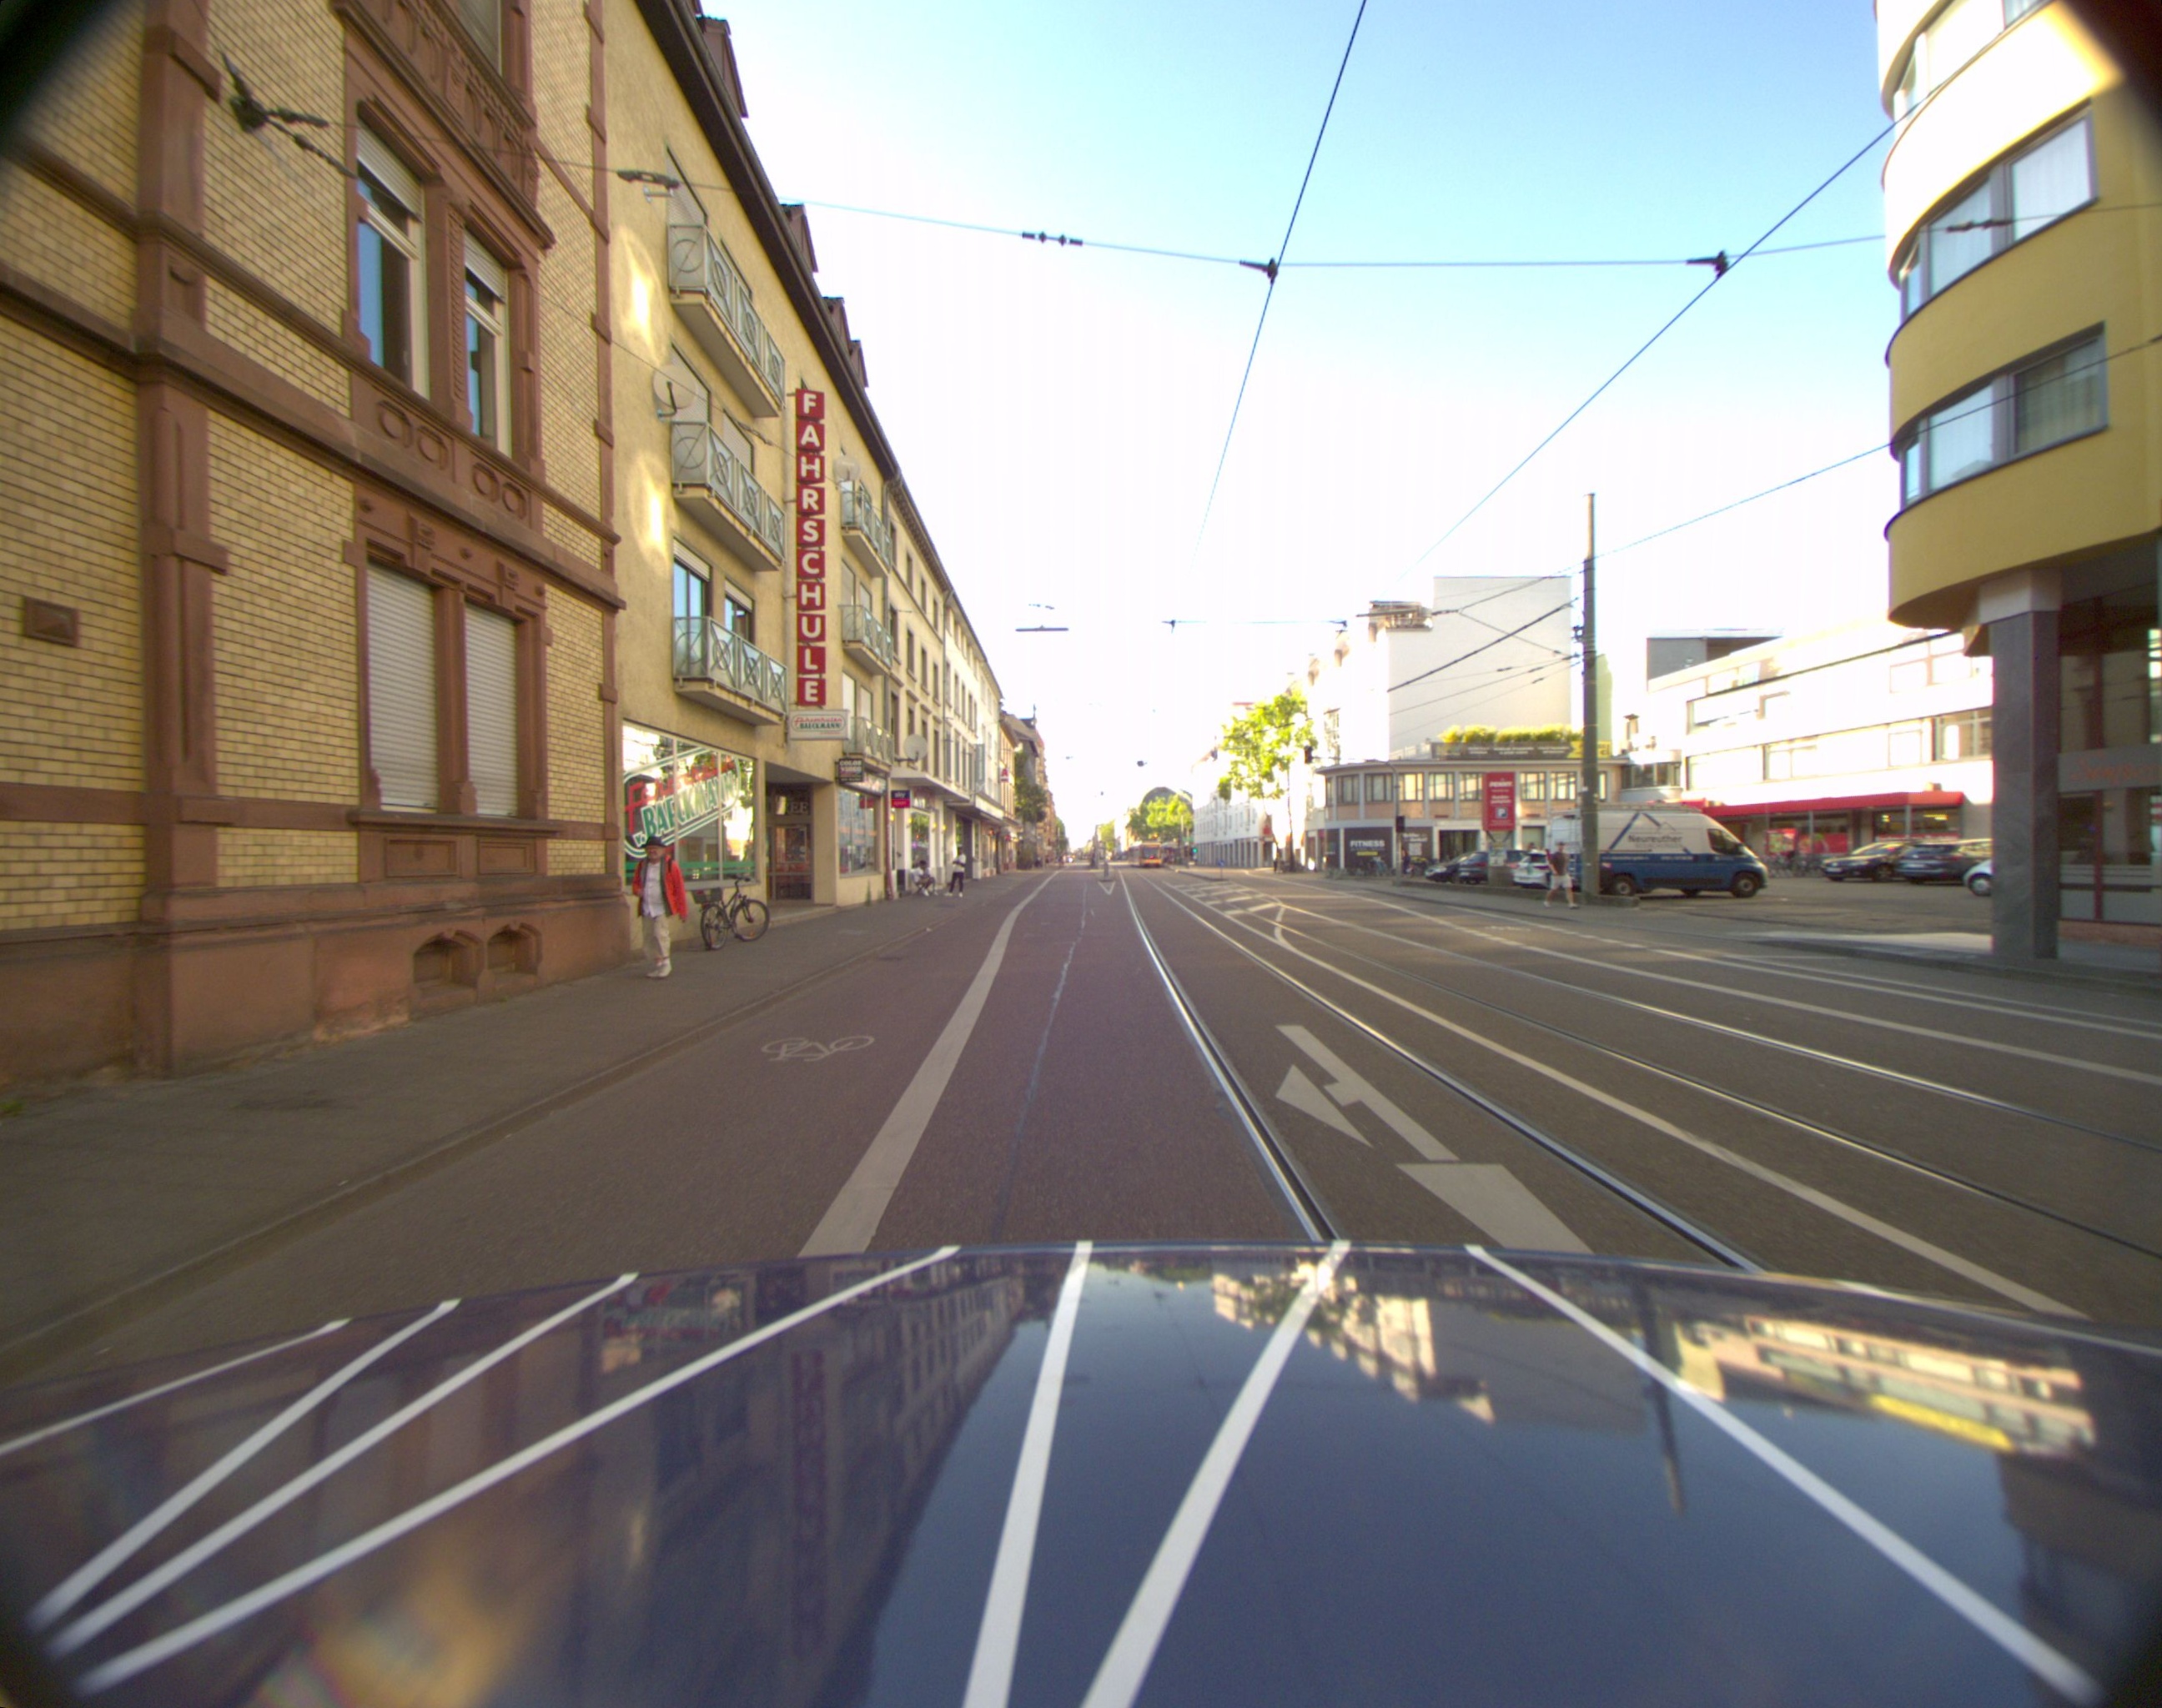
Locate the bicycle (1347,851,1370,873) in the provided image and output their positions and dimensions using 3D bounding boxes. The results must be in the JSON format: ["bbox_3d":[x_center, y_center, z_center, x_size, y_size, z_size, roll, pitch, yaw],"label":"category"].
[{"bbox_3d":[15.592,0.436,42.785,0.447,1.180,1.830,-1,0,-6],"label":"bicycle"}]

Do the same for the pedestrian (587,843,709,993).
[{"bbox_3d":[-5.052,0.726,8.915,0.799,1.618,0.826,4,-1,6],"label":"pedestrian"}]

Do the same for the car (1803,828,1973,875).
[{"bbox_3d":[28.356,-0.095,26.793,3.998,1.499,1.999,-1,1,-2],"label":"car"}]

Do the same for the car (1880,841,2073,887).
[{"bbox_3d":[28.729,0.305,24.477,3.998,1.346,1.999,-1,1,-2],"label":"car"}]

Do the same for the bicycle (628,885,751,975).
[{"bbox_3d":[-5.590,1.041,11.036,0.556,1.055,2.311,1,0,1],"label":"bicycle"}]

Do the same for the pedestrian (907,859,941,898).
[{"bbox_3d":[-5.430,0.848,26.292,0.832,1.248,0.705,4,0,-35],"label":"pedestrian"}]

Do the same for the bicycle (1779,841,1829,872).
[{"bbox_3d":[28.971,0.081,30.477,0.432,1.181,1.832,-1,1,7],"label":"bicycle"}]

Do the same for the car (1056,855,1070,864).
[{"bbox_3d":[-2.654,0.773,114.398,1.969,1.302,4.000,-1,0,1],"label":"car"}]

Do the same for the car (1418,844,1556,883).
[{"bbox_3d":[17.335,0.394,32.589,4.907,1.574,1.879,-1,0,1],"label":"car"}]

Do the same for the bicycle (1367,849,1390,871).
[{"bbox_3d":[16.525,0.345,42.199,0.449,1.180,1.831,-1,0,-3],"label":"bicycle"}]

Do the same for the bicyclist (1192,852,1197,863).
[{"bbox_3d":[17.910,0.576,119.923,0.514,1.690,0.807,-3,1,1],"label":"bicyclist"}]

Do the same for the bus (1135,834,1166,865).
[{"bbox_3d":[8.552,-0.614,95.220,2.818,3.547,13.678,-1,0,1],"label":"bus"}]

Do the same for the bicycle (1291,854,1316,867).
[{"bbox_3d":[18.003,0.529,61.477,1.849,0.907,0.390,-3,-2,5],"label":"bicycle"}]

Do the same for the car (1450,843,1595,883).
[{"bbox_3d":[17.298,0.357,29.919,4.600,1.467,1.879,-1,0,1],"label":"car"}]

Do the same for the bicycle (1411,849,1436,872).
[{"bbox_3d":[18.693,0.351,41.476,0.449,1.180,1.831,-1,0,-3],"label":"bicycle"}]

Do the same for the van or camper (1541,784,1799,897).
[{"bbox_3d":[17.036,-0.361,22.231,5.620,2.810,2.315,-3,0,1],"label":"van or camper"}]

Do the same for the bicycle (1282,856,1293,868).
[{"bbox_3d":[16.706,0.657,61.369,0.389,0.907,1.851,-3,1,1],"label":"bicycle"}]

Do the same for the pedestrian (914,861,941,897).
[{"bbox_3d":[-5.522,0.892,27.312,0.708,1.168,1.014,5,0,-19],"label":"pedestrian"}]

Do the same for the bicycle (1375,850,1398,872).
[{"bbox_3d":[16.904,0.393,42.041,0.444,1.180,1.831,-1,0,-3],"label":"bicycle"}]

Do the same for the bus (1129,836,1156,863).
[{"bbox_3d":[8.678,-0.691,108.558,2.818,3.547,13.677,-1,0,0],"label":"bus"}]

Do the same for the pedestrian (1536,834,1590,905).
[{"bbox_3d":[12.772,0.395,20.160,0.835,1.822,0.909,-1,0,0],"label":"pedestrian"}]

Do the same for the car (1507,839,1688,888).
[{"bbox_3d":[16.706,0.311,24.744,4.600,1.467,1.879,-1,0,1],"label":"car"}]

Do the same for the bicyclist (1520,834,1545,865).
[{"bbox_3d":[22.436,-0.218,37.788,0.838,1.540,0.690,-1,1,-17],"label":"bicyclist"}]

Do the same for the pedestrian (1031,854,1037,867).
[{"bbox_3d":[-5.541,0.756,89.173,0.651,1.569,0.682,-1,1,-7],"label":"pedestrian"}]

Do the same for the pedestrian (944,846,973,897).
[{"bbox_3d":[-4.496,0.647,27.847,0.705,1.801,0.680,5,0,16],"label":"pedestrian"}]

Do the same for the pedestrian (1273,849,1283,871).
[{"bbox_3d":[16.189,0.489,62.378,0.630,1.706,0.826,-1,1,28],"label":"pedestrian"}]

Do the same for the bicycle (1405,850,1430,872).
[{"bbox_3d":[18.143,0.368,41.032,0.449,1.180,1.831,-1,0,-3],"label":"bicycle"}]

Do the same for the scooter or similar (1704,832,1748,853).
[{"bbox_3d":[30.936,-0.572,36.463,1.364,0.956,0.915,-2,1,-2],"label":"scooter or similar"}]

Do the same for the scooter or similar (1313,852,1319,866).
[{"bbox_3d":[18.349,0.404,59.365,0.335,1.105,1.182,-1,1,23],"label":"scooter or similar"}]

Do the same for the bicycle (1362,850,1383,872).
[{"bbox_3d":[16.096,0.389,42.029,0.441,1.180,1.831,-1,0,0],"label":"bicycle"}]

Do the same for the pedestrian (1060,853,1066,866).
[{"bbox_3d":[-2.493,0.712,103.492,0.694,1.760,0.697,-1,1,5],"label":"pedestrian"}]

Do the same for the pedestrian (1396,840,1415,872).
[{"bbox_3d":[17.522,0.111,41.005,0.682,1.687,0.683,-1,0,-2],"label":"pedestrian"}]

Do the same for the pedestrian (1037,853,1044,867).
[{"bbox_3d":[-4.988,0.705,93.939,0.650,1.760,0.697,-1,1,5],"label":"pedestrian"}]

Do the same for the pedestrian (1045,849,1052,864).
[{"bbox_3d":[-4.006,0.298,93.773,0.807,1.789,0.761,-1,1,0],"label":"pedestrian"}]

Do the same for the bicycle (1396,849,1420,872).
[{"bbox_3d":[17.633,0.358,40.987,0.449,1.180,1.831,-1,0,-3],"label":"bicycle"}]

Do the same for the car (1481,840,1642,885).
[{"bbox_3d":[17.169,0.294,27.308,4.600,1.467,1.879,-1,0,1],"label":"car"}]
